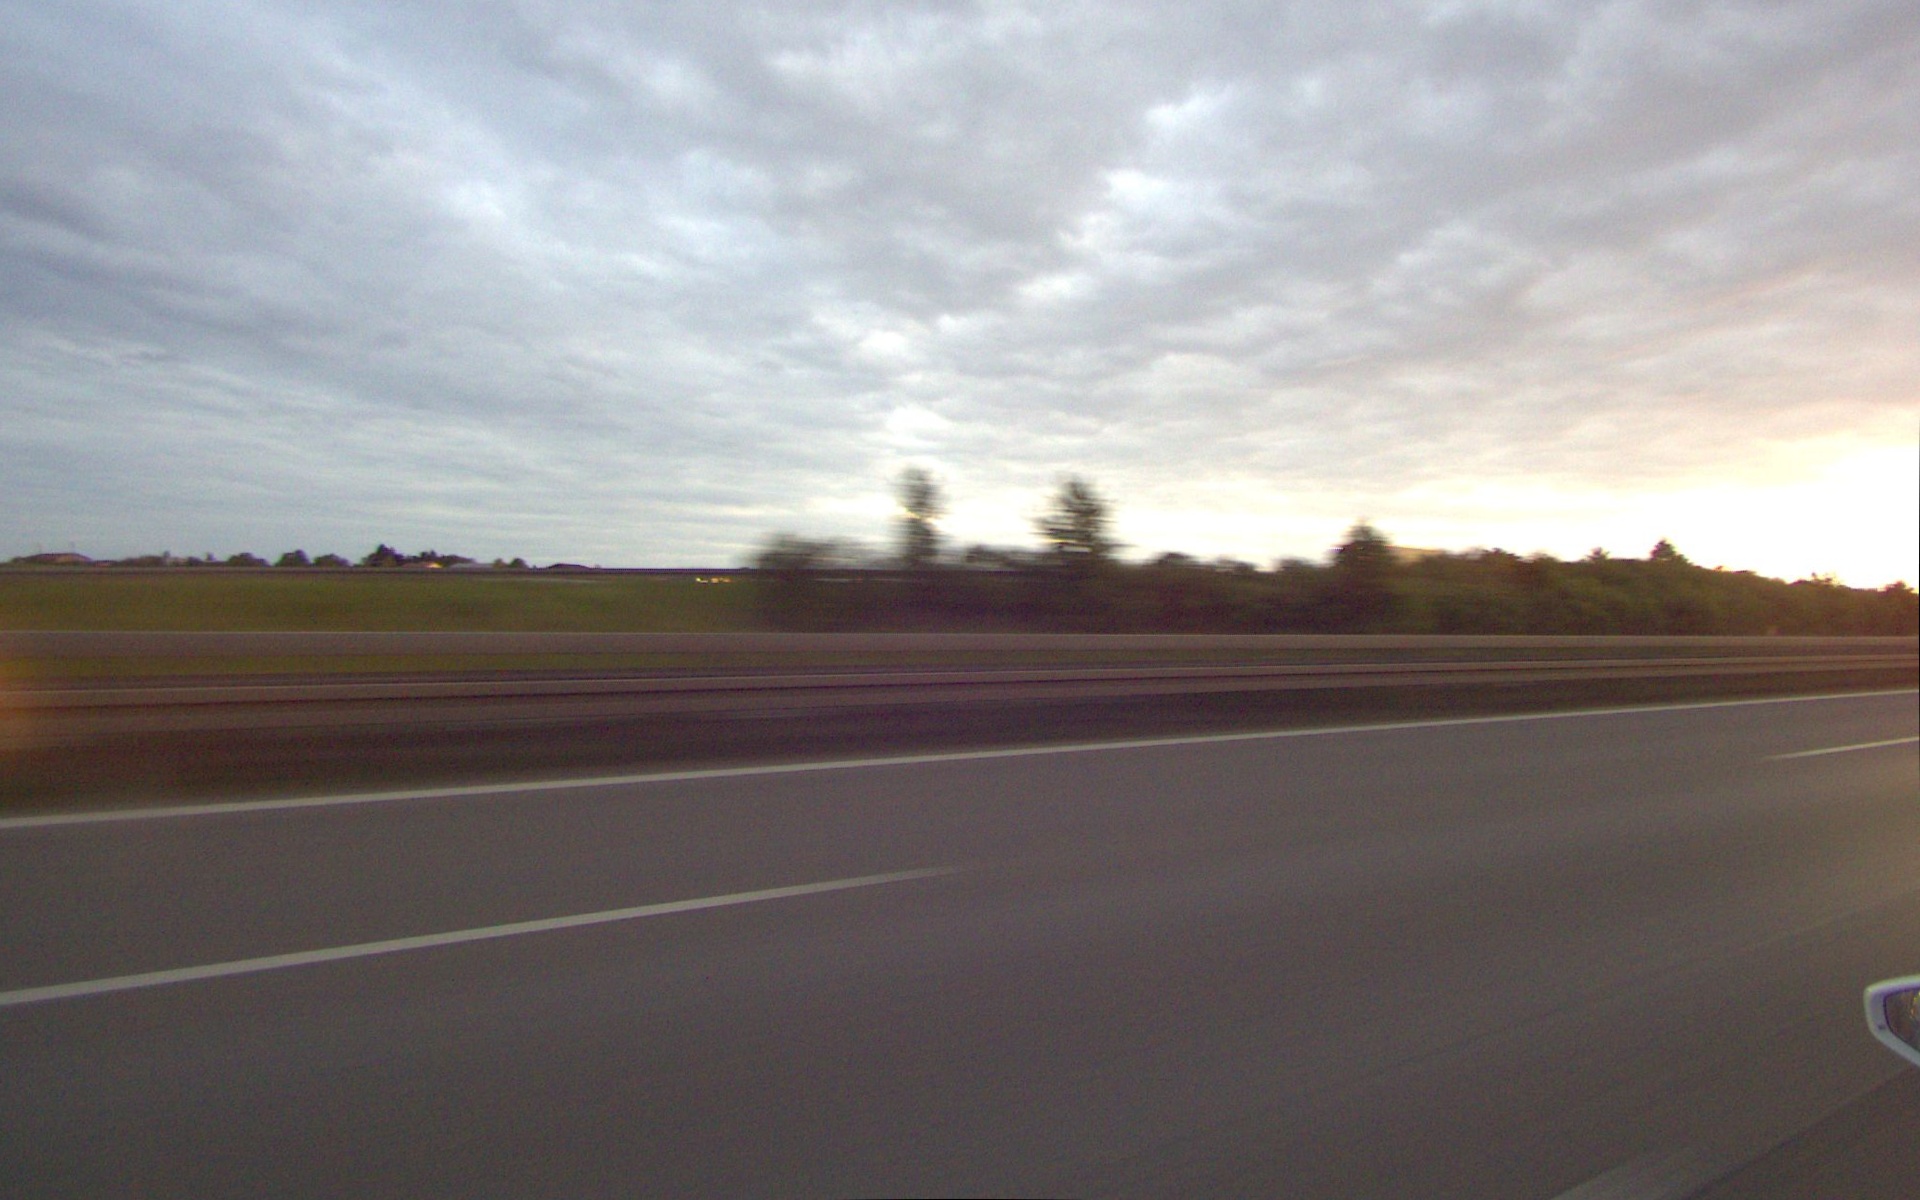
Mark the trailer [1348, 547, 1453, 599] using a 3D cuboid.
[{"bbox_3d":[39.149,-2.288,88.933,12.371,4.125,2.672,1,-1,-36],"label":"trailer"}]

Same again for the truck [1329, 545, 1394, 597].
[{"bbox_3d":[34.067,-2.407,85.218,5.424,4.125,2.672,1,-1,-36],"label":"truck"}]
